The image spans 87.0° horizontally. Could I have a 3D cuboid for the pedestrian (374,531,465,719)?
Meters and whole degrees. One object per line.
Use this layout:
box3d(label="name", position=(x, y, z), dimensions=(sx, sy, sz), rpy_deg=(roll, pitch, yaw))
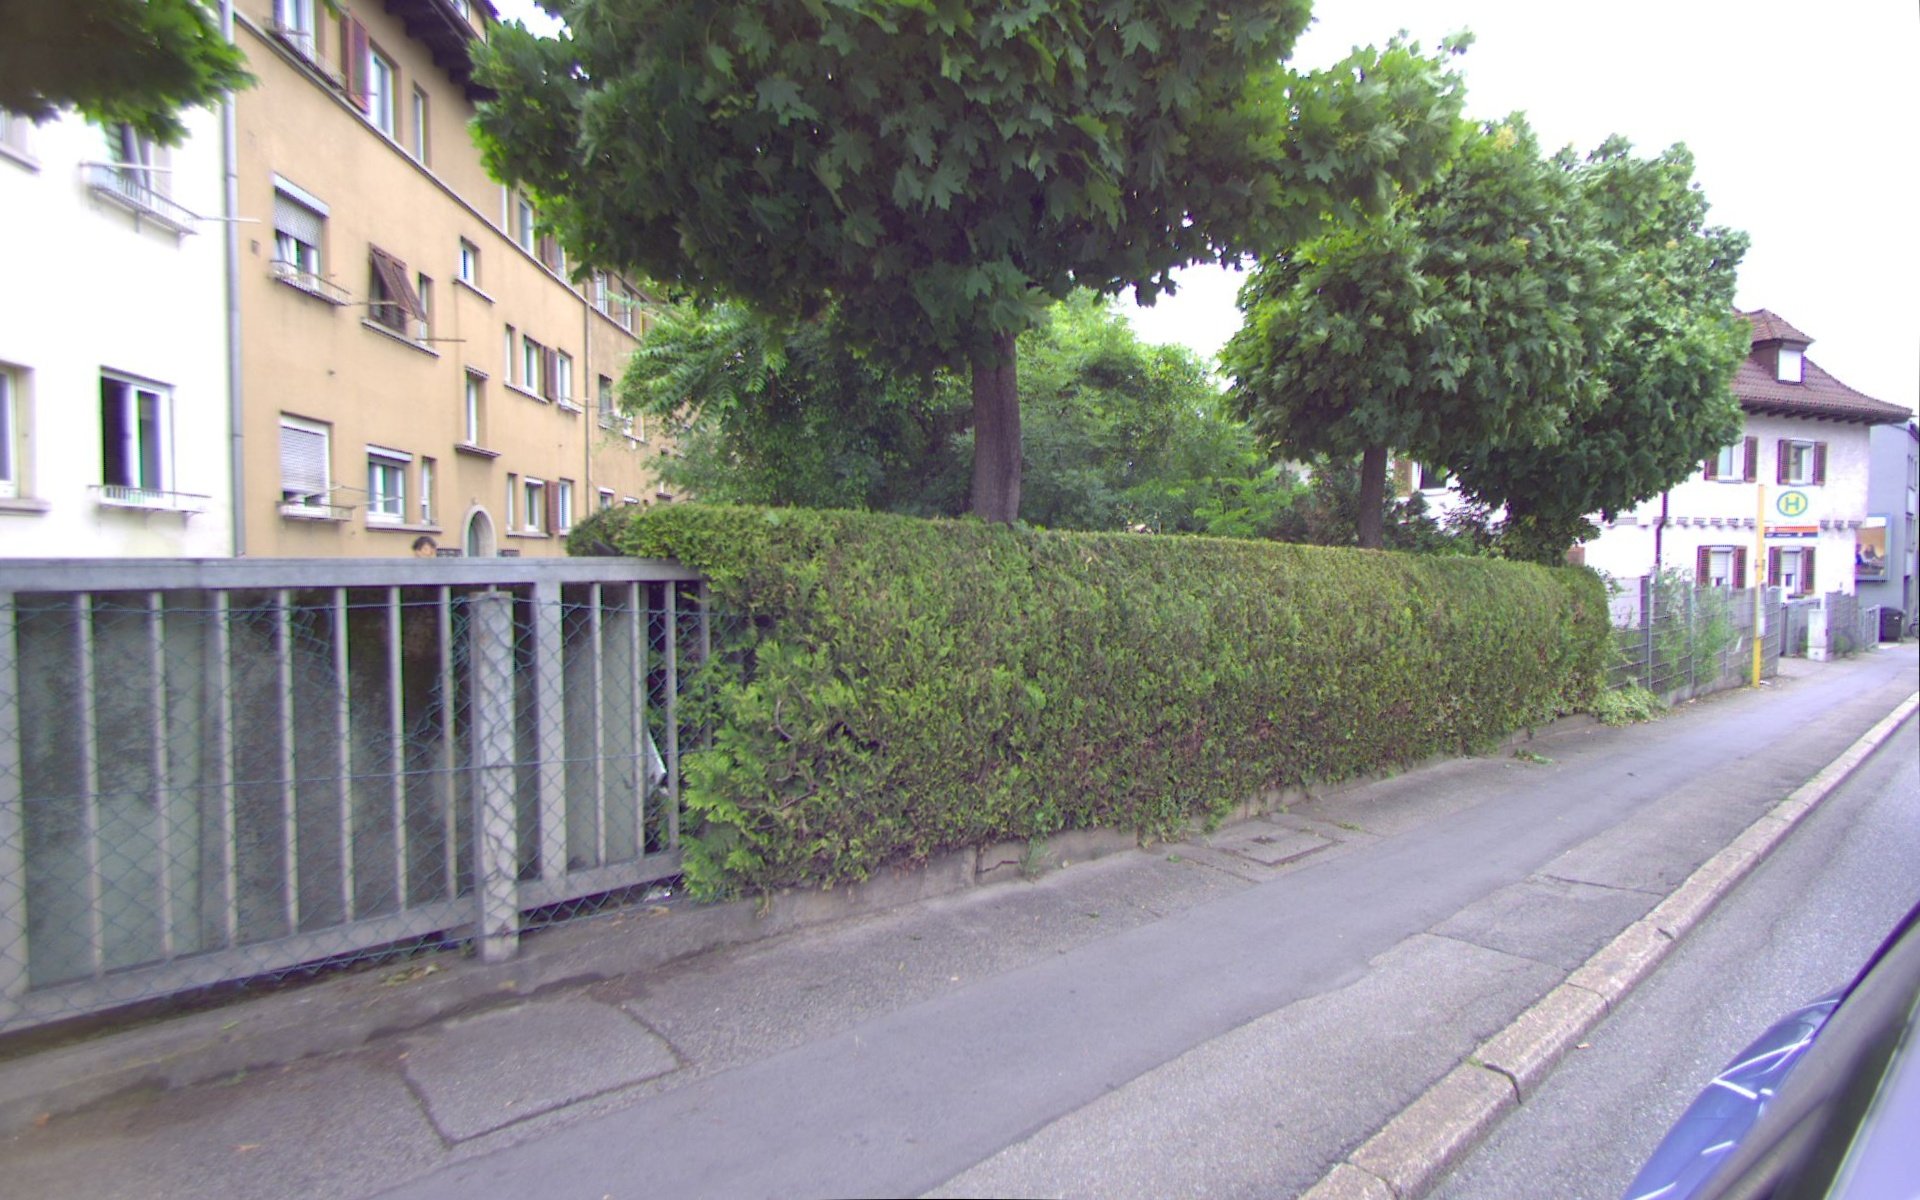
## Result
box3d(label="pedestrian", position=(-5.260, 0.221, 9.849), dimensions=(0.684, 1.759, 0.466), rpy_deg=(0, 2, -43))

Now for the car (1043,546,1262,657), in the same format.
box3d(label="car", position=(3.761, 0.016, 20.287), dimensions=(3.923, 2.039, 2.001), rpy_deg=(1, 1, -1))
